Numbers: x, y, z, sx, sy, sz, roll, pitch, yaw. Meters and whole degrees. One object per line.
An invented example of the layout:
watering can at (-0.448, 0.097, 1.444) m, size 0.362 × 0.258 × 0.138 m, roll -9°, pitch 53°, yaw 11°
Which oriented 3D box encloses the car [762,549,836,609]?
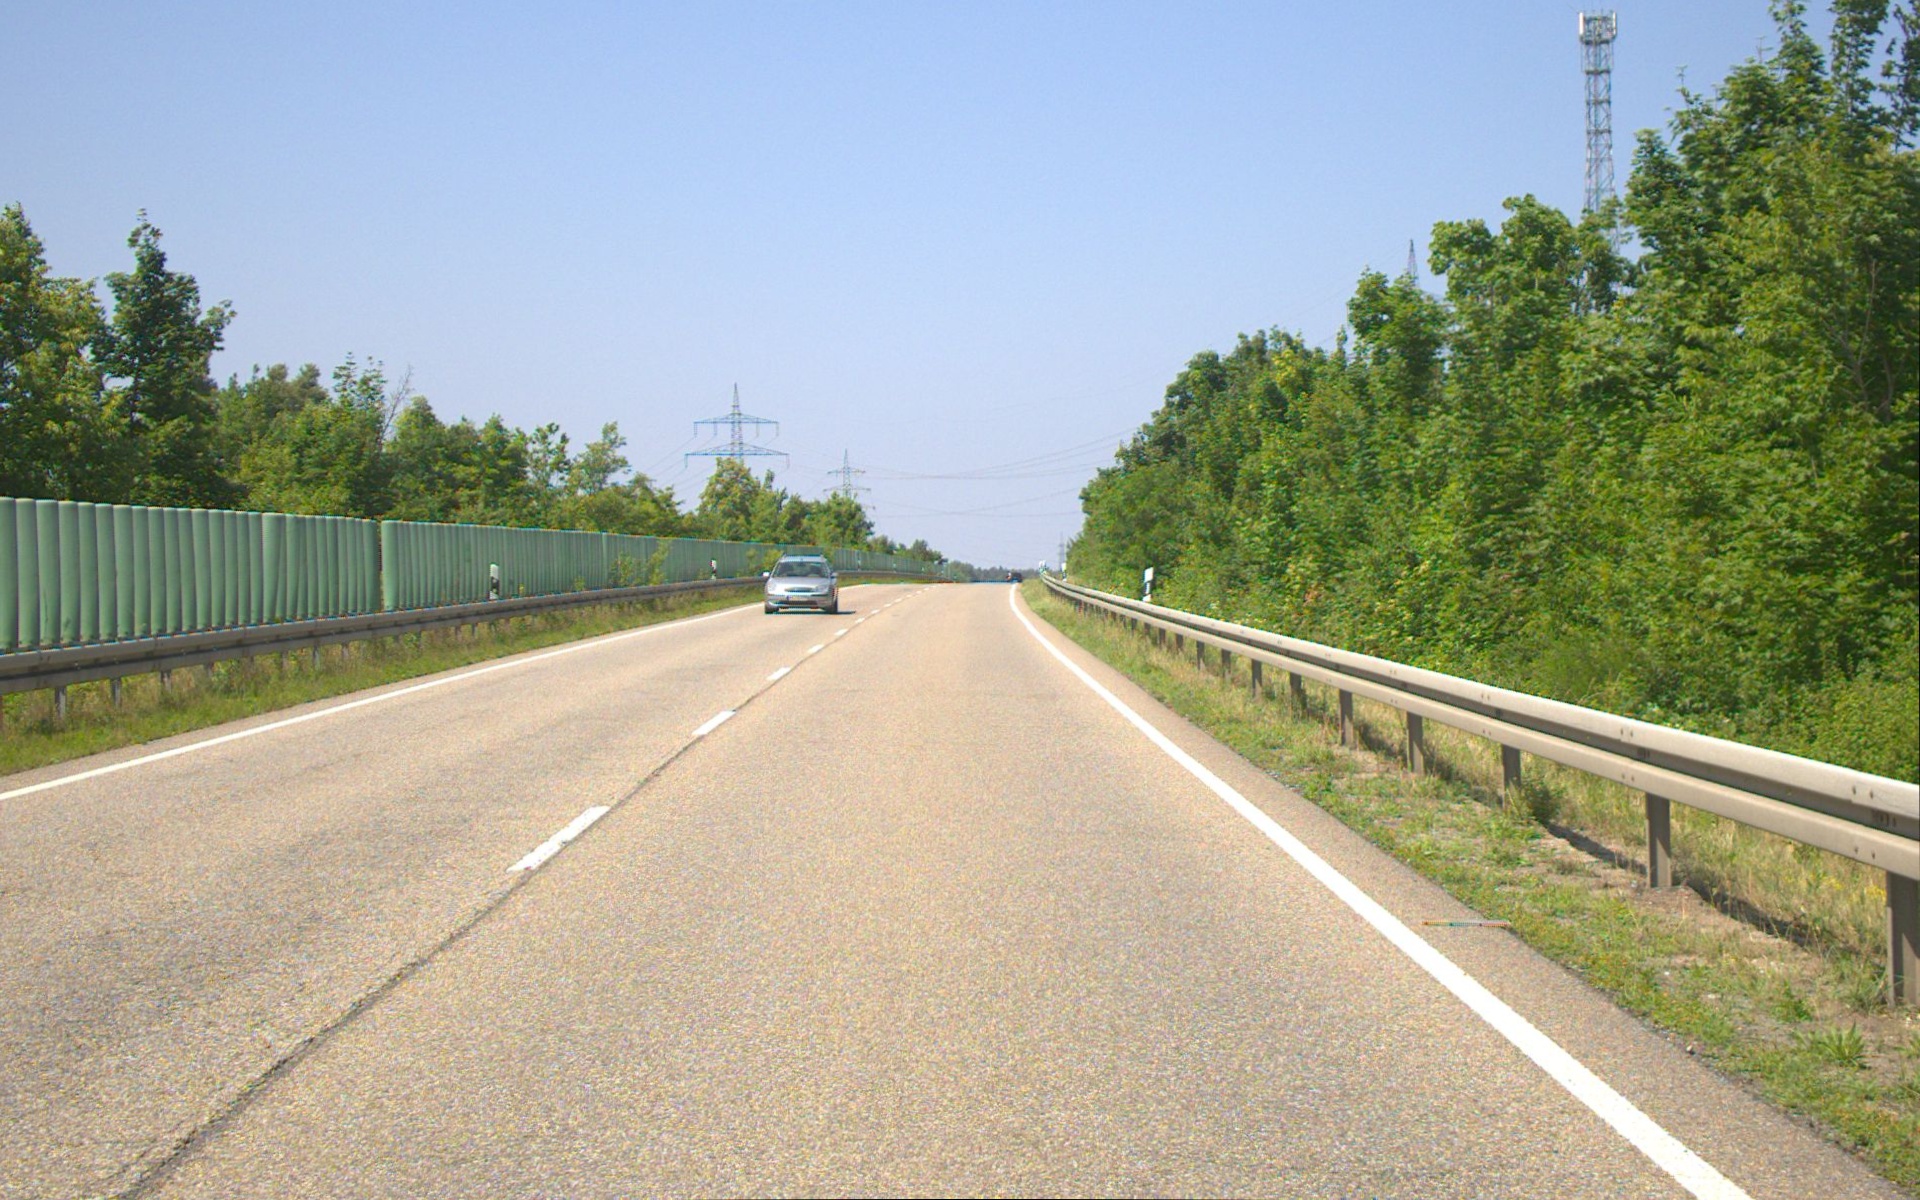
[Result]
car at (-4.100, -0.558, 88.204) m, size 1.720 × 1.496 × 4.248 m, roll 0°, pitch 1°, yaw 0°
